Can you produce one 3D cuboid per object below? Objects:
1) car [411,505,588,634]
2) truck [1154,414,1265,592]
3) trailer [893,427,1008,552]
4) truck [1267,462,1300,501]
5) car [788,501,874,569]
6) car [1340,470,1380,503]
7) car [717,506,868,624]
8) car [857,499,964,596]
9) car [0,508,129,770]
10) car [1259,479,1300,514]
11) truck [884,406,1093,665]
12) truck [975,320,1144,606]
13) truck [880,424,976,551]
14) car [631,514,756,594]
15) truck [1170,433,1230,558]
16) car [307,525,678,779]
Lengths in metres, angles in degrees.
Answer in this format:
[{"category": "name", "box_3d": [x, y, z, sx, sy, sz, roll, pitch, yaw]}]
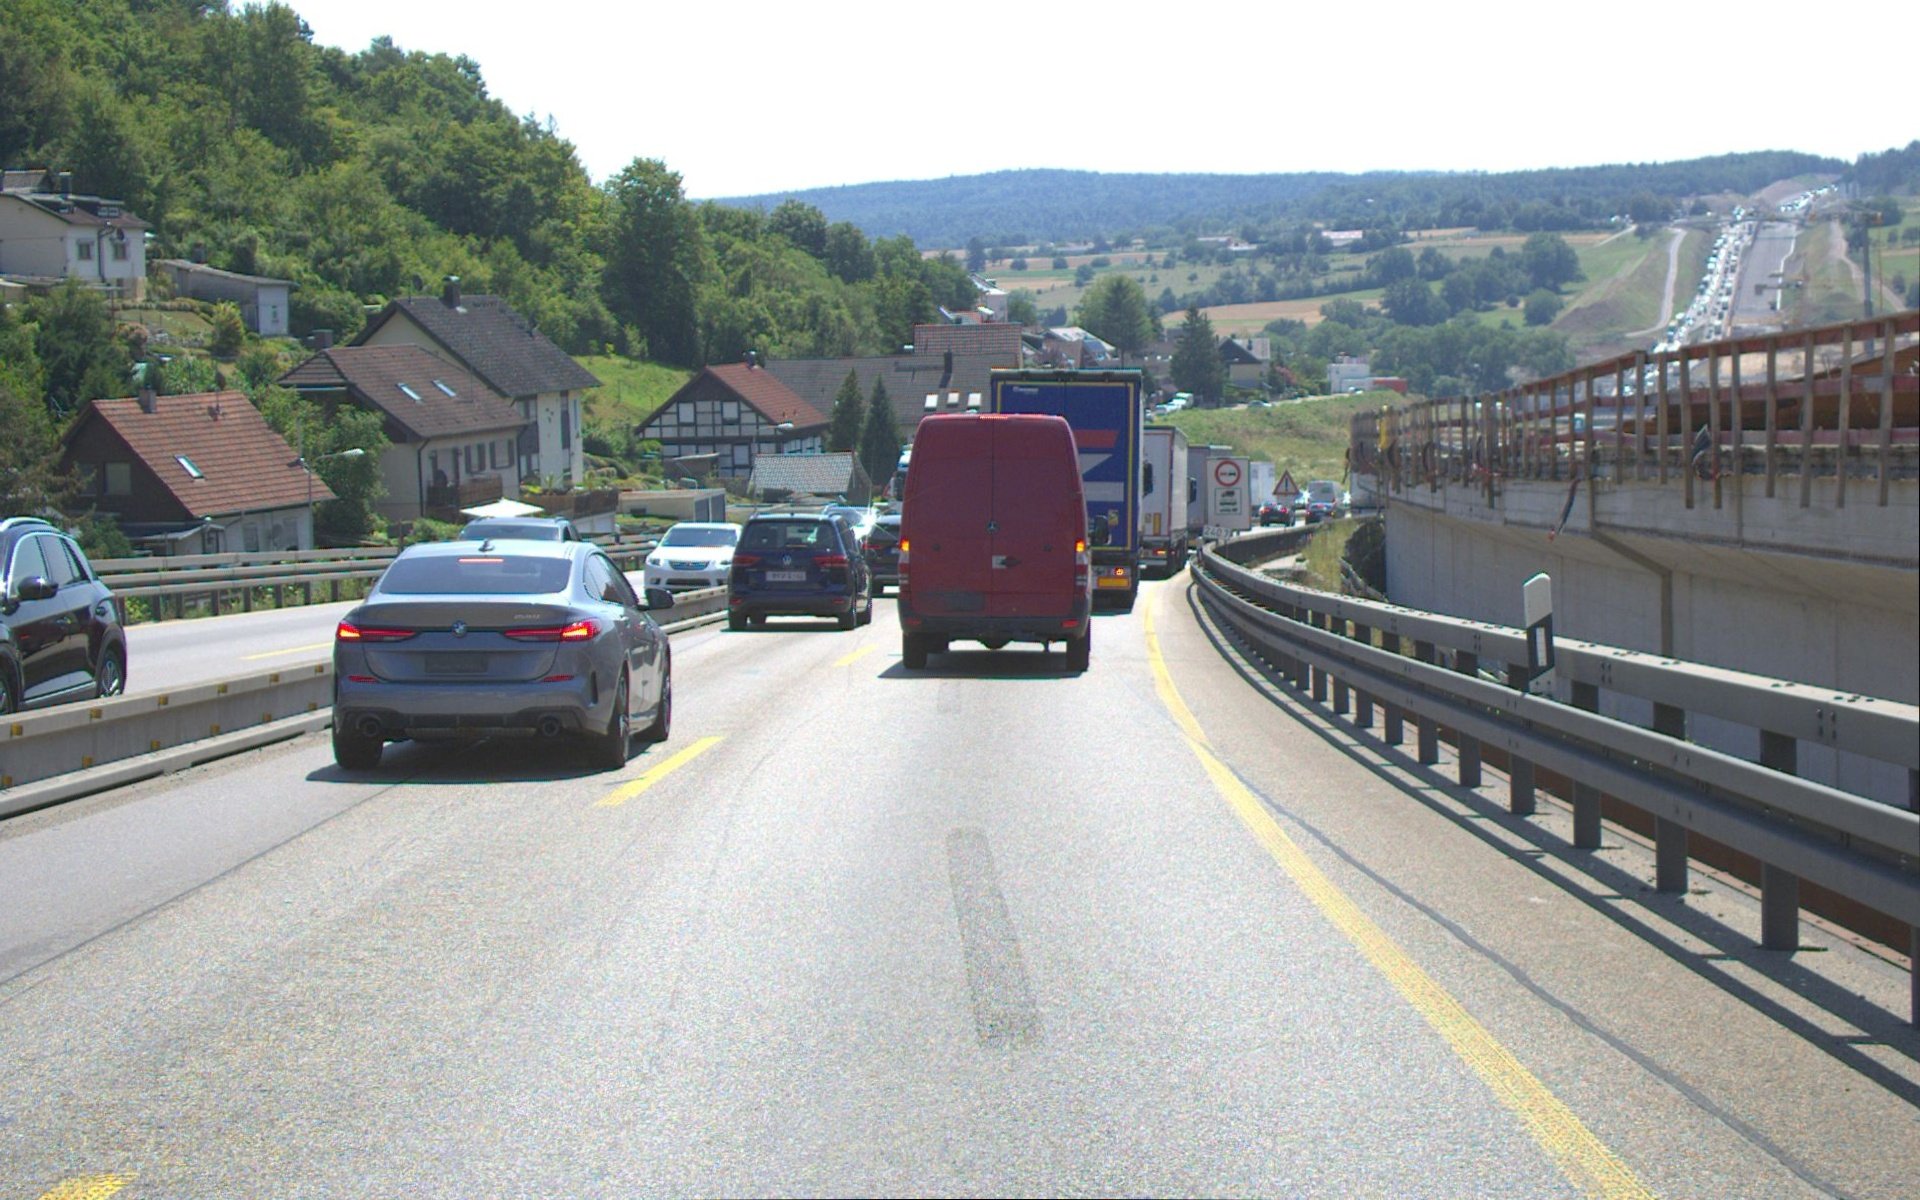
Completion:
[{"category": "car", "box_3d": [-6.171, -0.436, 46.420, 1.739, 1.636, 4.001, 1, 1, 1]}, {"category": "truck", "box_3d": [7.061, -2.684, 98.282, 2.786, 4.799, 9.684, 1, 1, 2]}, {"category": "trailer", "box_3d": [-0.294, -4.447, 141.913, 3.065, 4.799, 13.998, 1, 1, 7]}, {"category": "truck", "box_3d": [13.427, -4.908, 142.600, 1.314, 1.537, 3.151, 1, 1, 6]}, {"category": "car", "box_3d": [-3.351, -1.719, 90.151, 1.912, 1.699, 4.736, 1, 1, 2]}, {"category": "car", "box_3d": [26.012, -7.359, 223.553, 2.132, 2.007, 3.998, 1, 1, 13]}, {"category": "car", "box_3d": [-2.352, -0.499, 49.093, 1.810, 1.602, 3.719, 1, 1, 2]}, {"category": "car", "box_3d": [-0.950, -1.035, 68.251, 1.729, 1.832, 3.999, 1, 1, 5]}, {"category": "car", "box_3d": [-6.592, 0.199, 21.626, 1.729, 1.545, 4.036, 1, 2, 0]}, {"category": "car", "box_3d": [19.424, -6.271, 208.788, 1.804, 2.006, 3.998, 2, 2, 14]}, {"category": "truck", "box_3d": [0.359, -0.673, 36.530, 1.994, 2.570, 4.000, 1, 1, 3]}, {"category": "truck", "box_3d": [1.872, -2.377, 63.029, 2.786, 4.799, 9.684, 1, 1, 2]}, {"category": "truck", "box_3d": [-1.234, -4.353, 133.915, 3.061, 4.805, 4.644, 1, 1, 7]}, {"category": "car", "box_3d": [-5.141, -0.916, 66.861, 1.912, 1.481, 4.477, 1, 1, 2]}, {"category": "truck", "box_3d": [8.683, -3.735, 123.933, 1.994, 4.366, 3.999, 1, 1, 5]}, {"category": "car", "box_3d": [-2.928, 0.261, 22.316, 1.795, 1.480, 4.050, 0, 1, 1]}]
